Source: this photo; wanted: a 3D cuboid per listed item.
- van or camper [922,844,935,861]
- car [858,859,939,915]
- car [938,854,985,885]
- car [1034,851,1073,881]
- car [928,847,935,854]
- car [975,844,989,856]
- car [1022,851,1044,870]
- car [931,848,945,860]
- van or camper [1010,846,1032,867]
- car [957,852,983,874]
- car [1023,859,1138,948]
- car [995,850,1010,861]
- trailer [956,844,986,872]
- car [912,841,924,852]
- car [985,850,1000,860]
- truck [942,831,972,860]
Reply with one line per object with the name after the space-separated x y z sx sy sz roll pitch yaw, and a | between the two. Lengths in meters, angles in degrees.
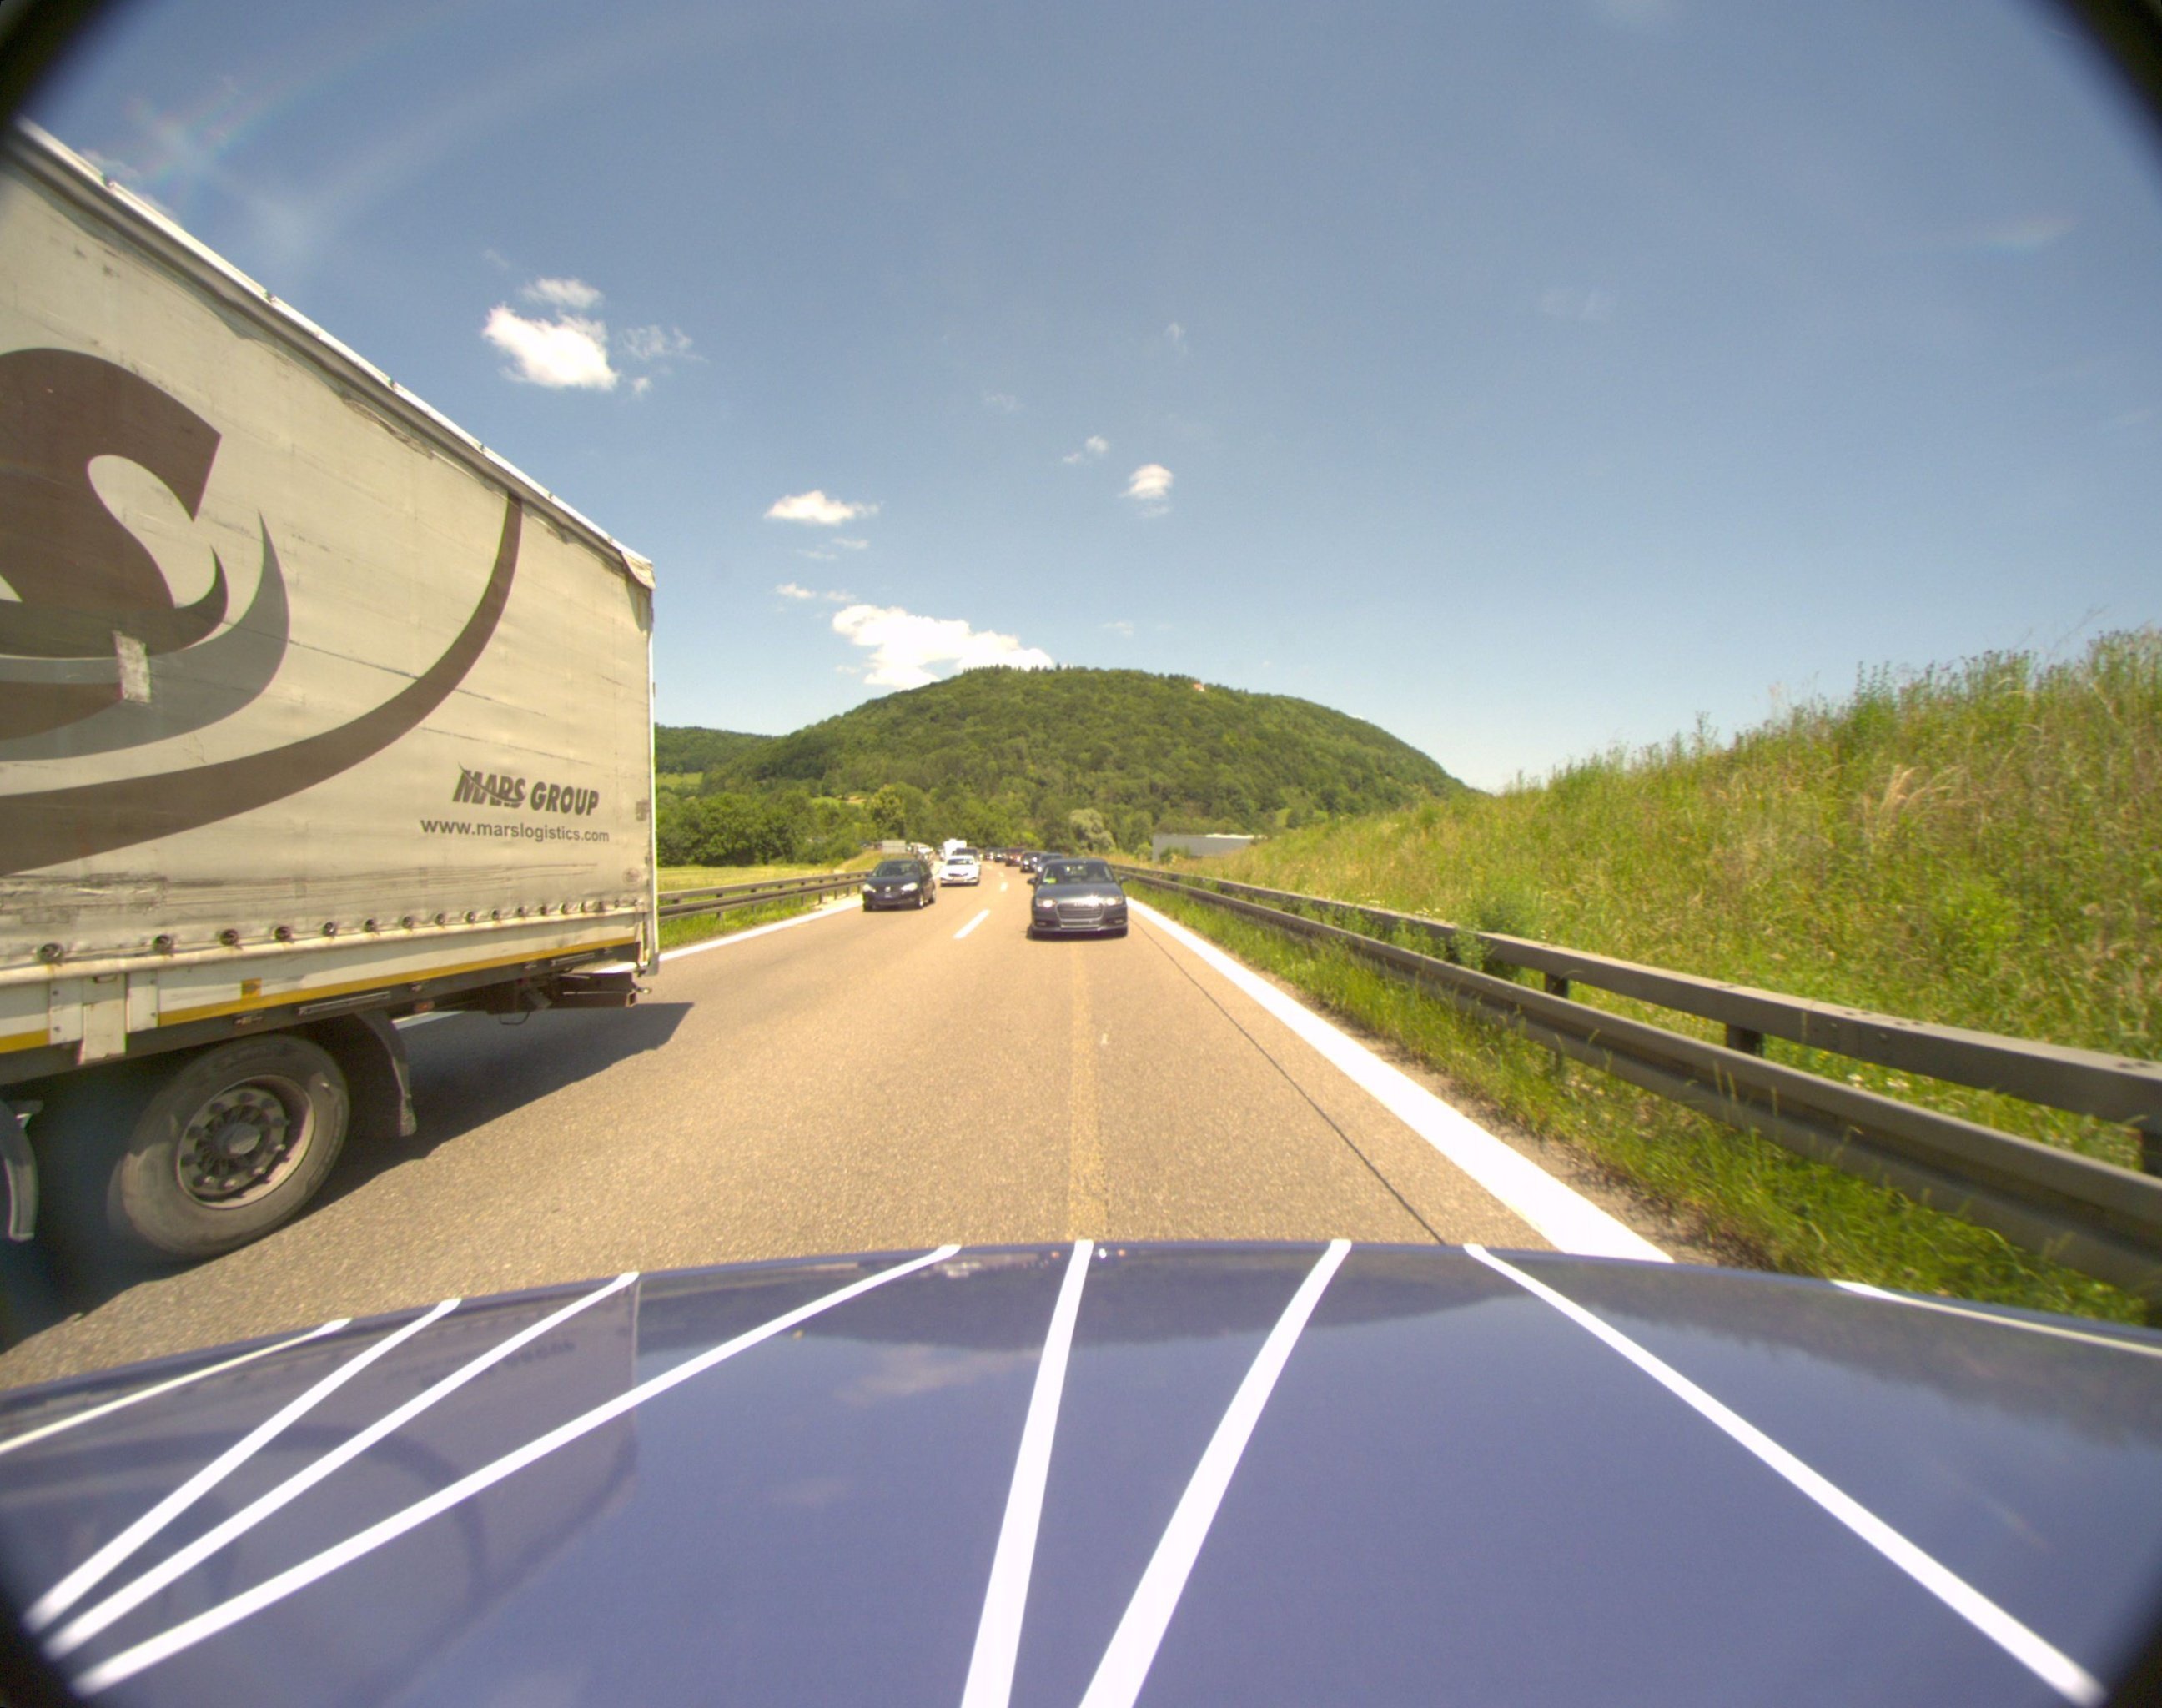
-27.935 -0.337 139.264 1.912 3.010 4.867 -1 1 -16 | van or camper
-5.312 0.908 22.585 1.696 1.414 3.836 -2 1 -4 | car
-5.830 0.720 37.497 1.908 1.422 3.720 -1 0 -3 | car
-1.438 0.595 39.026 1.697 1.422 3.460 -2 1 -6 | car
-30.639 -0.711 155.757 1.247 1.470 2.957 -4 1 -13 | car
-14.930 -0.565 114.135 1.532 1.628 3.414 -4 1 -14 | car
-3.438 0.447 53.866 1.287 1.305 3.450 -1 1 -8 | car
-20.183 -0.047 107.371 1.700 1.523 3.676 -4 1 -13 | car
-5.630 0.259 70.955 1.819 1.855 3.610 -2 1 -8 | van or camper
-7.313 0.569 50.176 1.489 1.375 3.736 1 0 -5 | car
-0.162 0.839 14.695 1.756 1.382 4.052 -2 0 -6 | car
-8.800 0.194 84.845 1.492 1.102 3.211 -3 1 -9 | car
-7.836 0.289 53.961 2.000 1.958 3.997 0 0 -9 | trailer
-31.684 -1.426 147.875 2.001 2.002 3.994 -3 1 -15 | car
-11.370 0.107 97.218 1.492 1.102 3.210 -3 1 -12 | car
-14.628 -0.961 89.337 2.605 3.089 6.849 -4 1 -15 | truck
